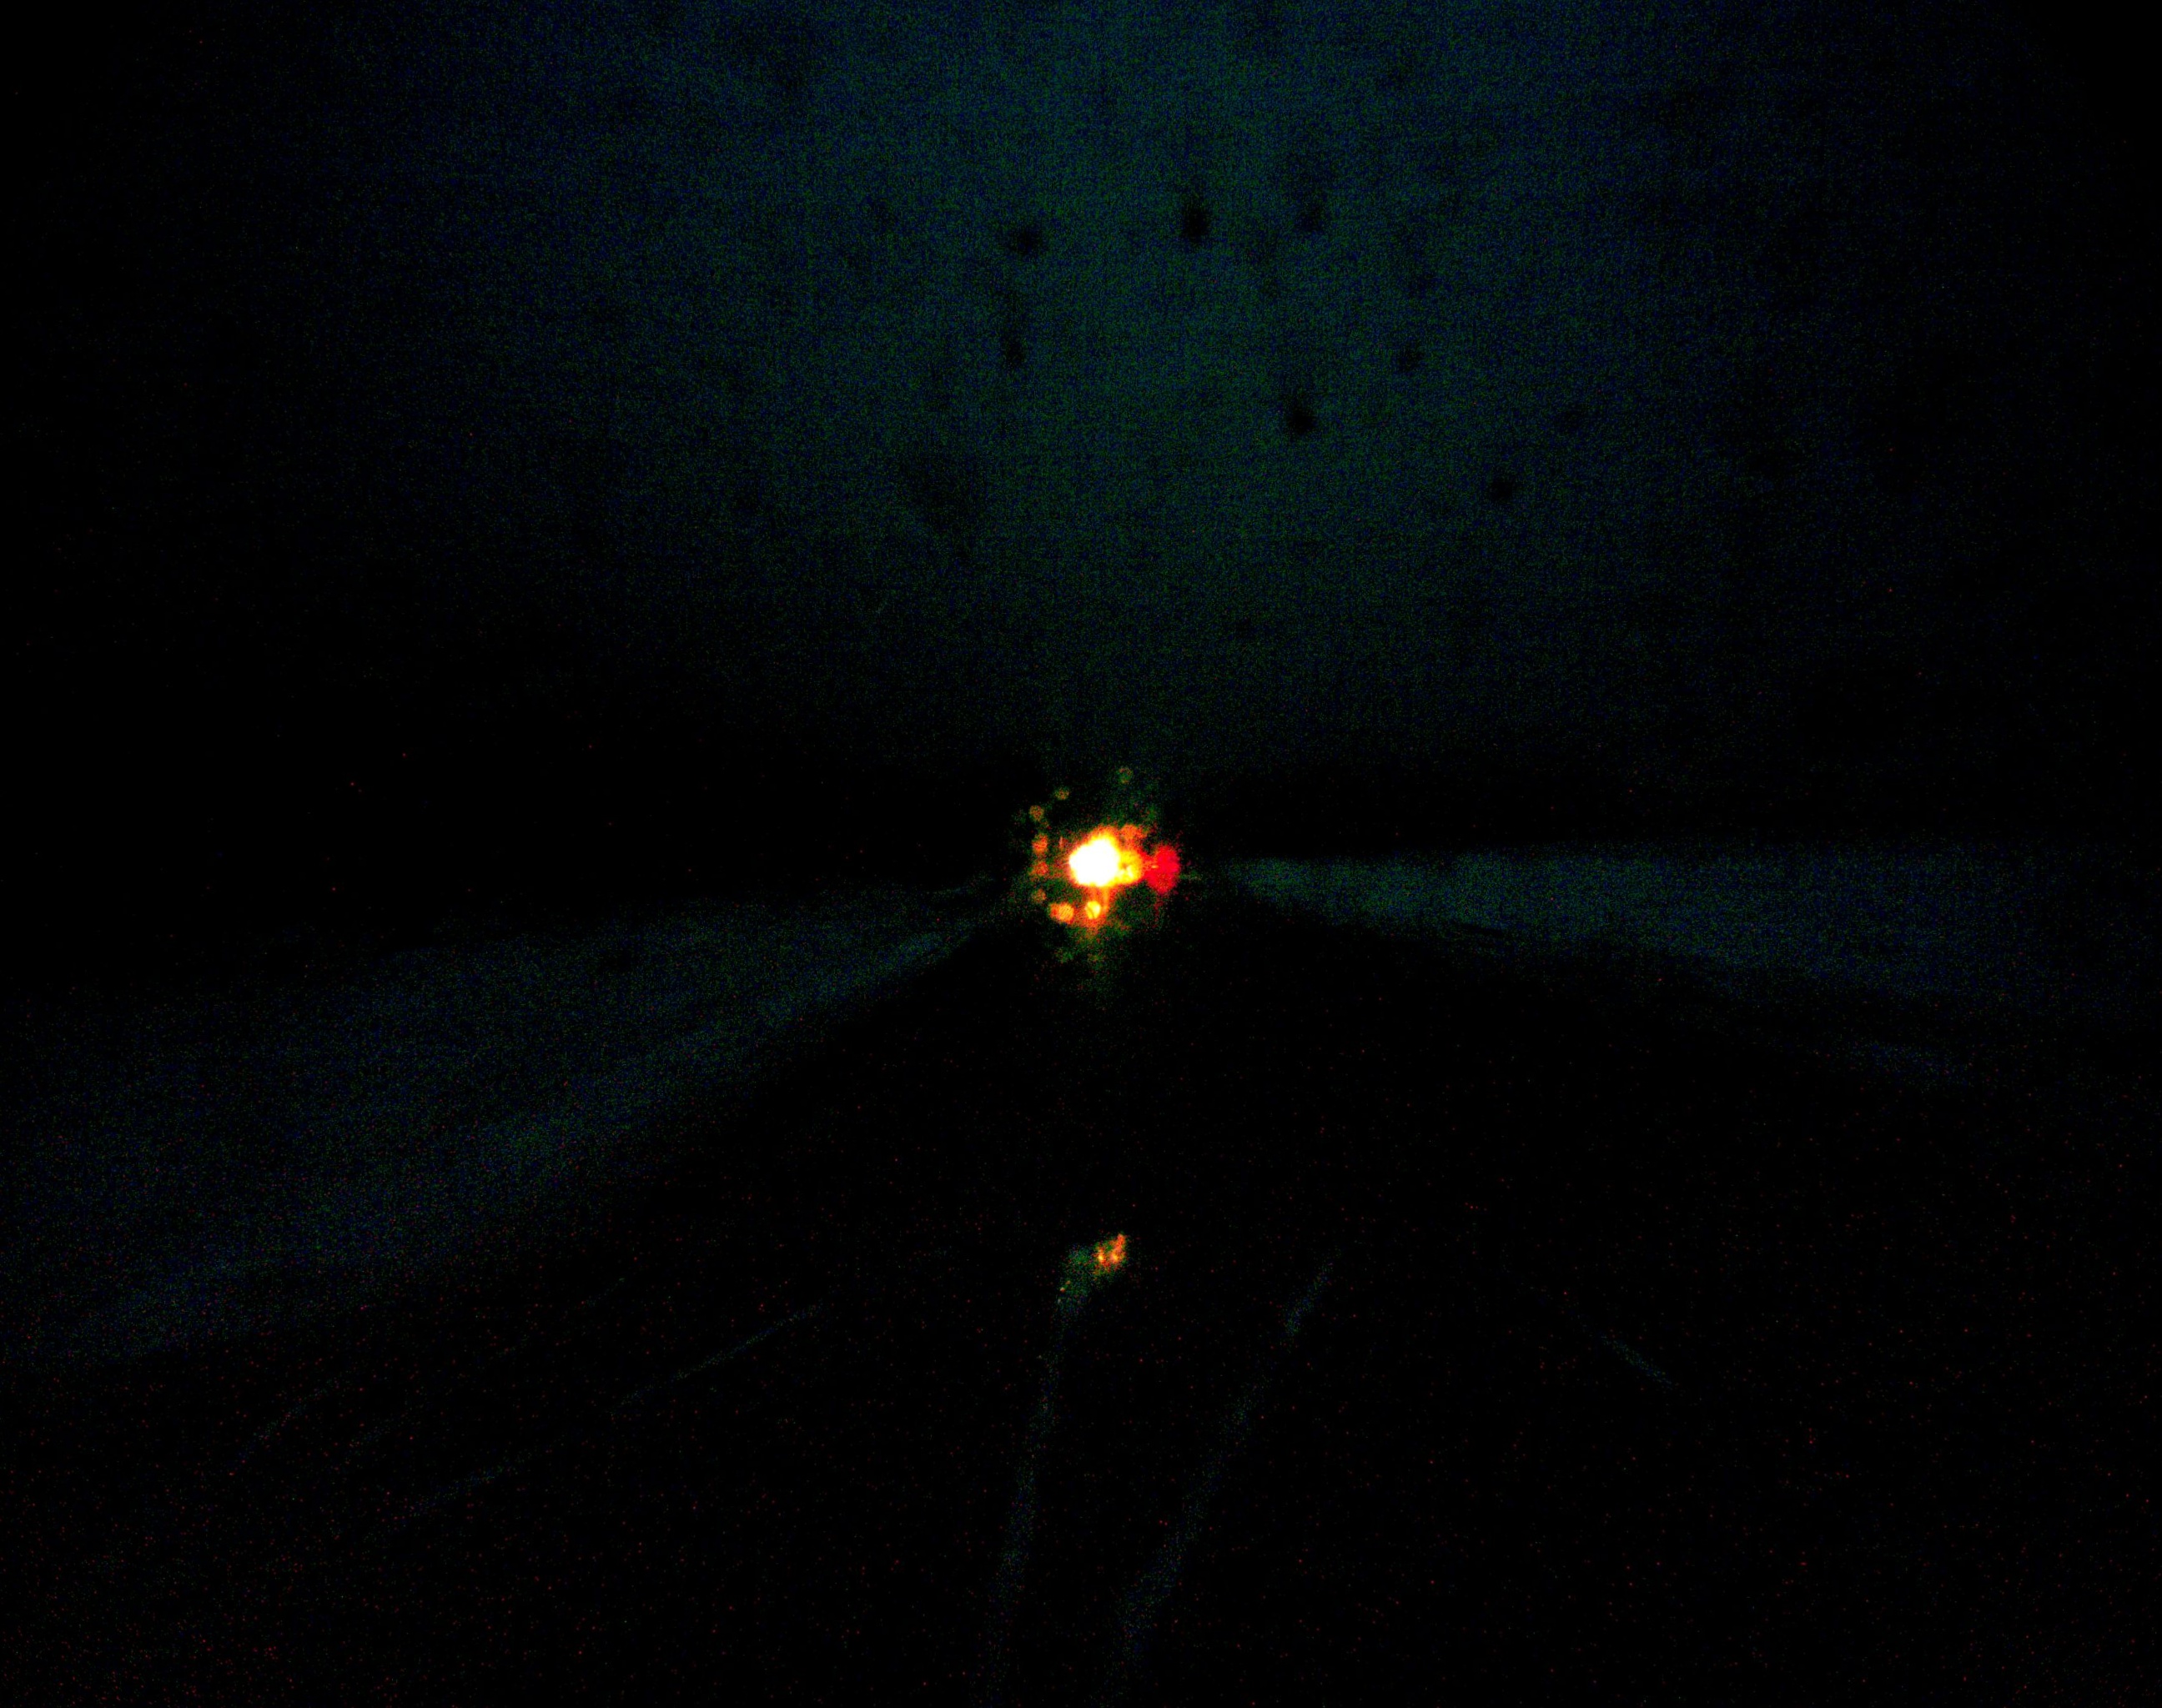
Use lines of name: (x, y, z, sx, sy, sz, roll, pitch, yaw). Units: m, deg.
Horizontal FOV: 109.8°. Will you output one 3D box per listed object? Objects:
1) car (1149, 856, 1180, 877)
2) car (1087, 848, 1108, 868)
car: (5.731, 0.848, 52.450, 1.732, 1.338, 4.222, 1, 0, 2)
car: (1.852, 0.411, 85.103, 1.998, 2.002, 4.001, -4, 1, 5)
